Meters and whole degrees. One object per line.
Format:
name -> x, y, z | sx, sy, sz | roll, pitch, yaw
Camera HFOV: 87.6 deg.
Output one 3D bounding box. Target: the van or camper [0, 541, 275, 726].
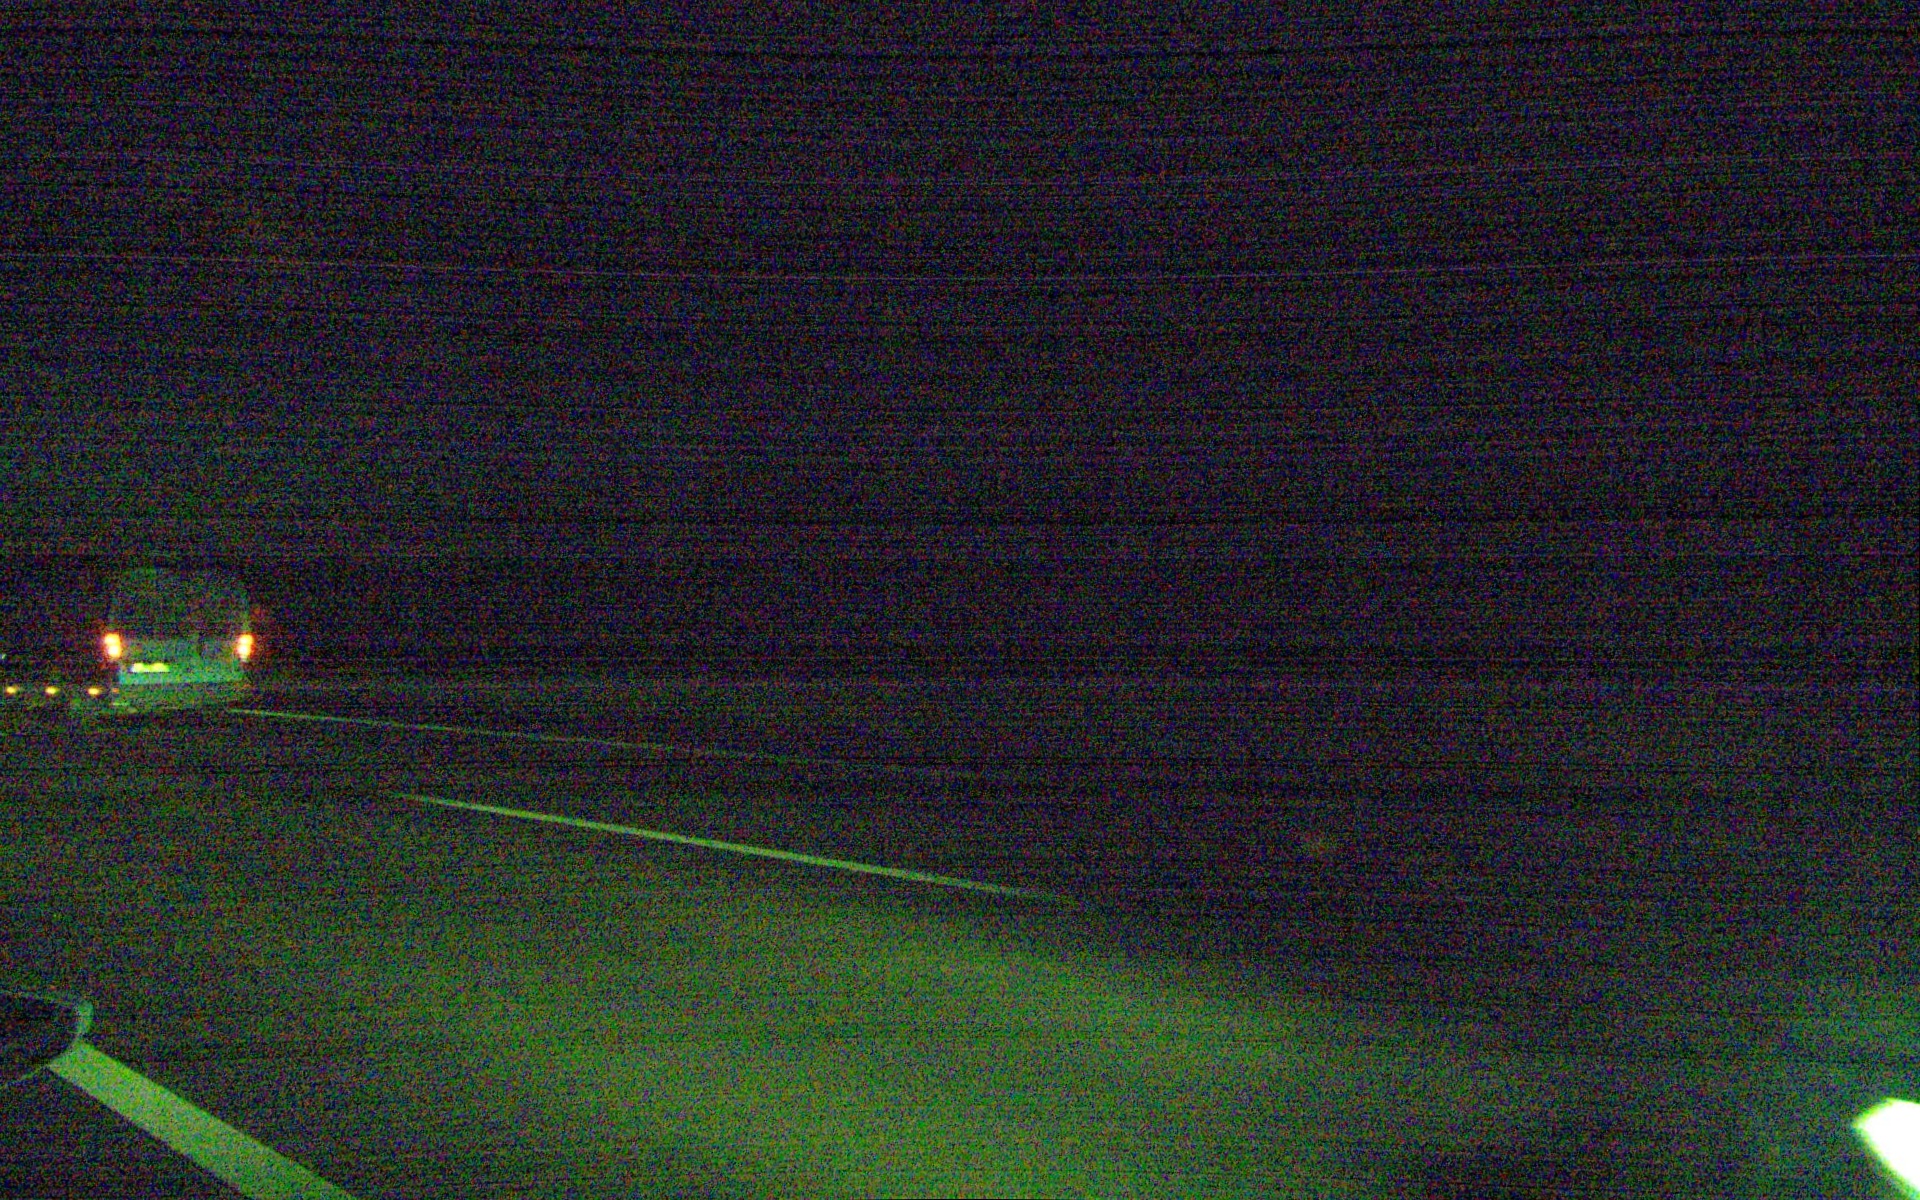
van or camper -> -15.096, 0.571, 17.834 | 6.704, 2.807, 2.204 | -1, -1, 31
